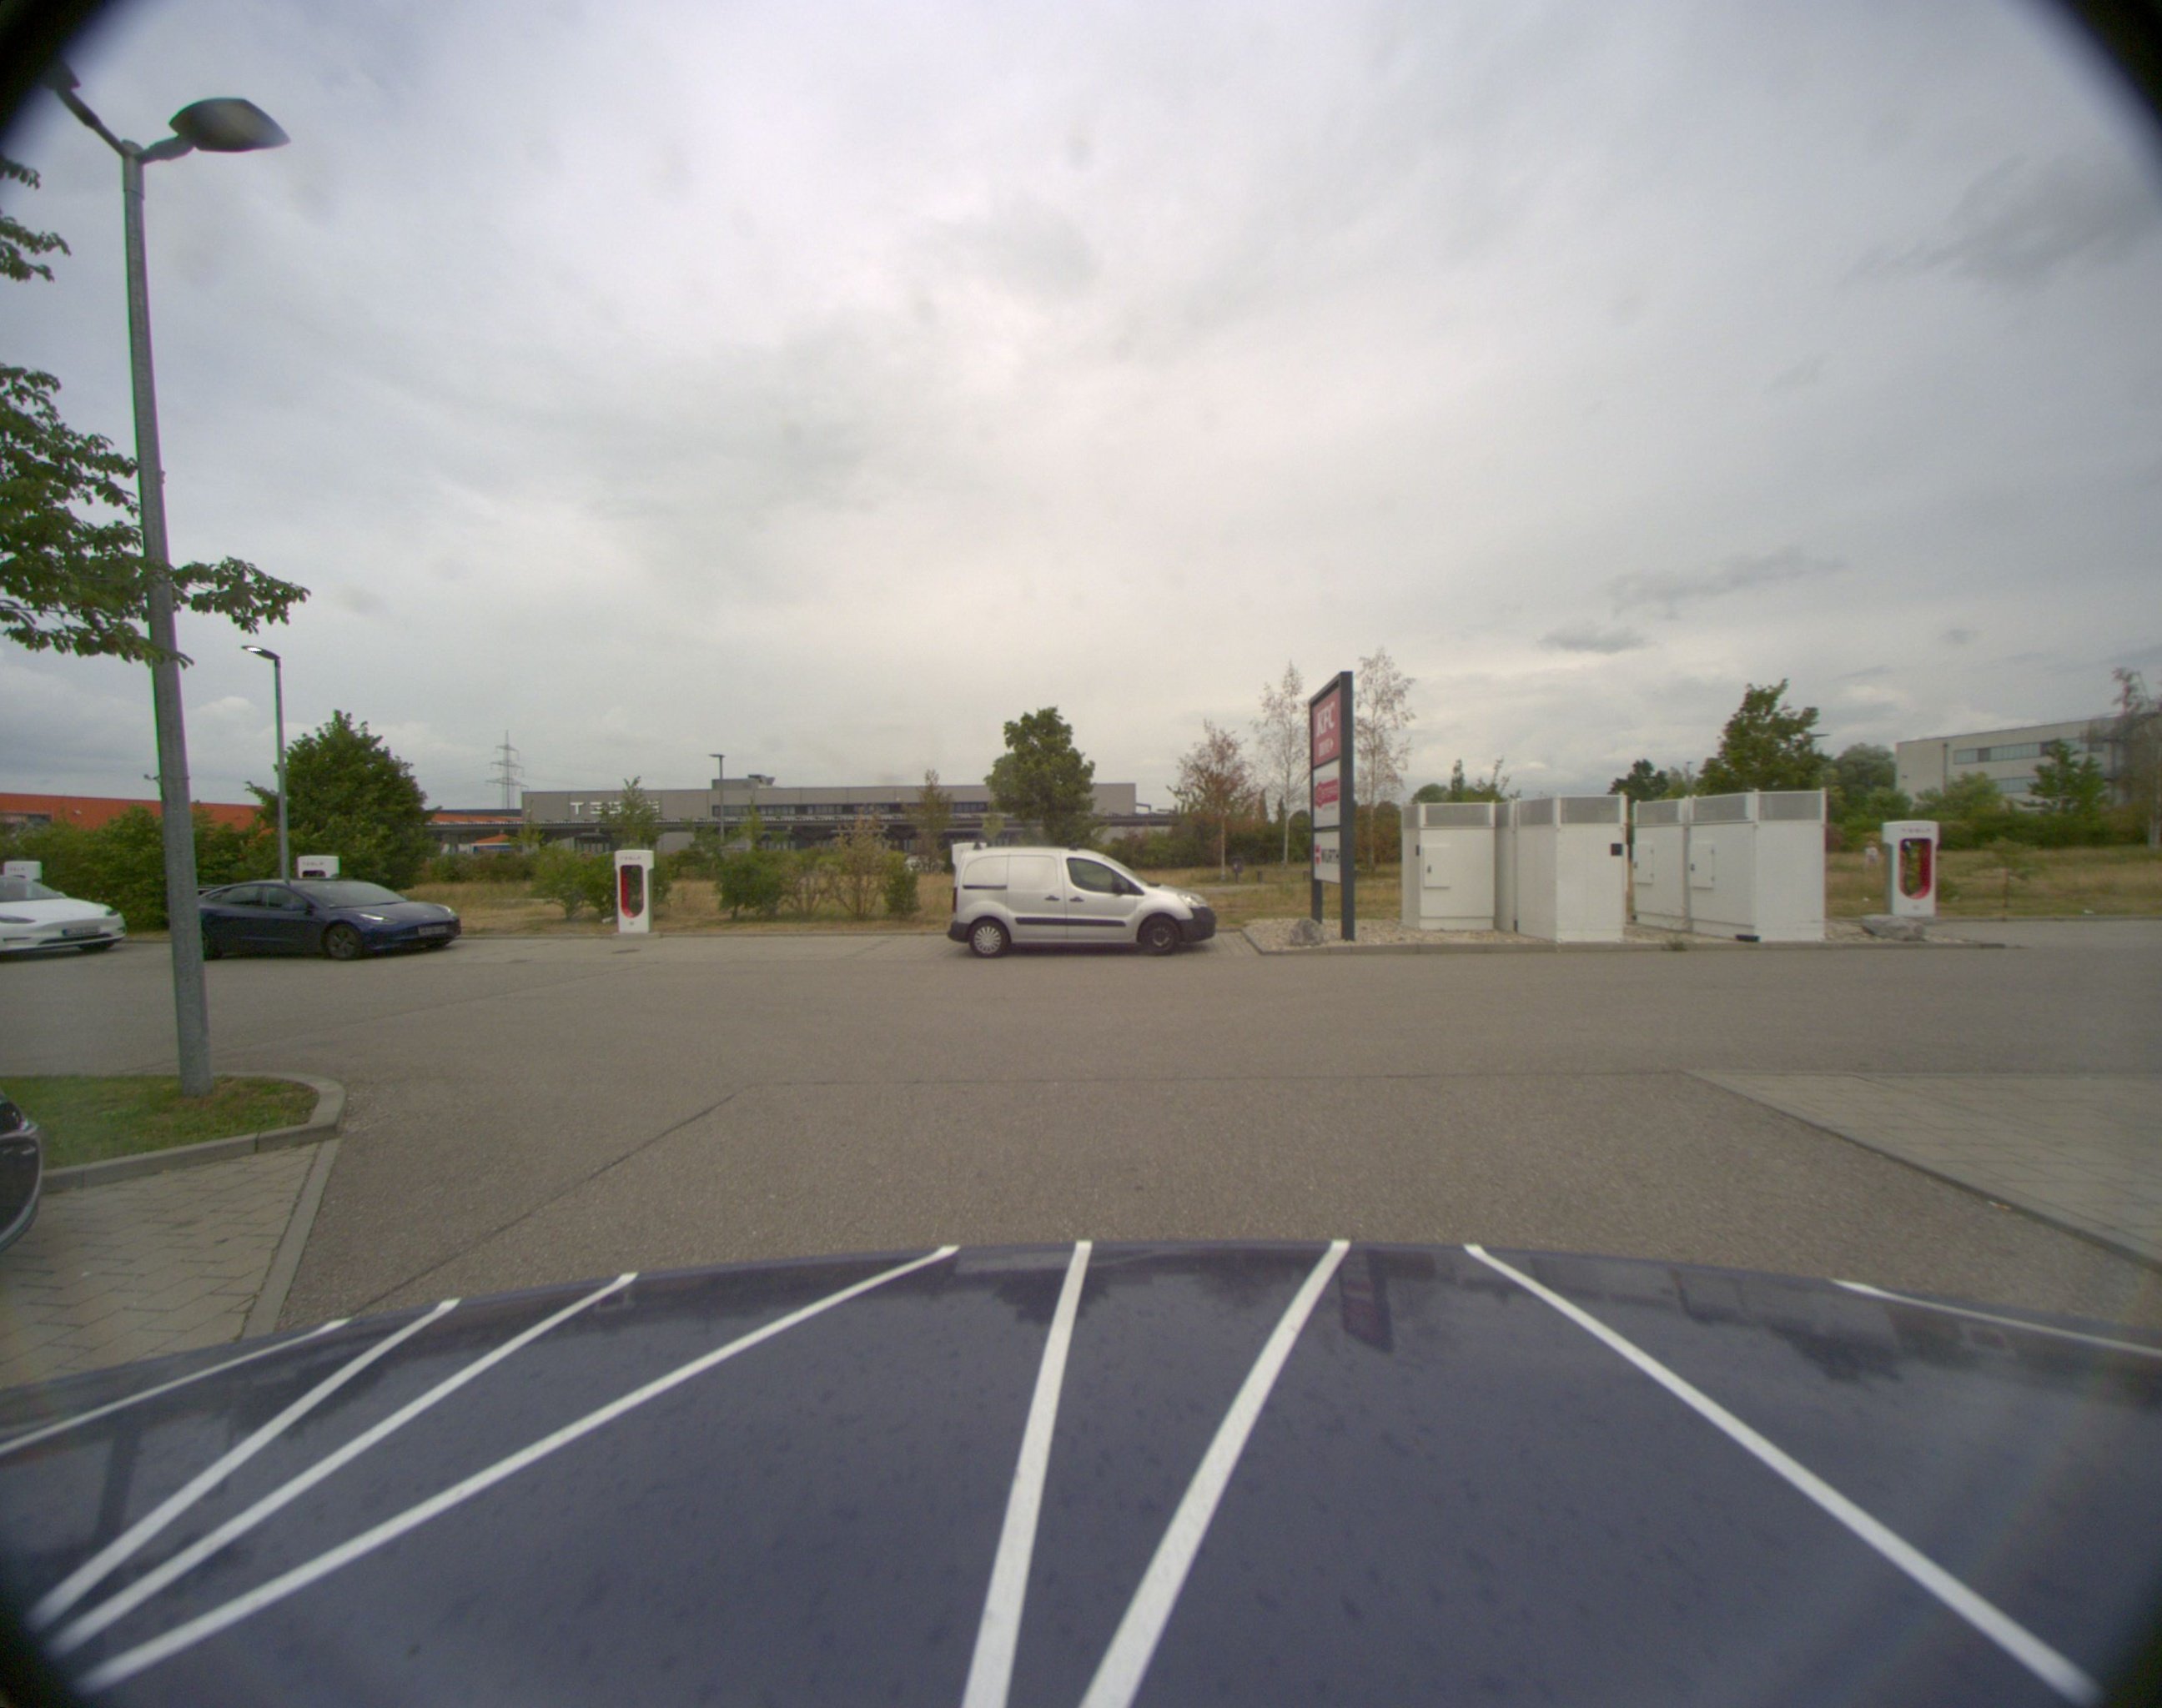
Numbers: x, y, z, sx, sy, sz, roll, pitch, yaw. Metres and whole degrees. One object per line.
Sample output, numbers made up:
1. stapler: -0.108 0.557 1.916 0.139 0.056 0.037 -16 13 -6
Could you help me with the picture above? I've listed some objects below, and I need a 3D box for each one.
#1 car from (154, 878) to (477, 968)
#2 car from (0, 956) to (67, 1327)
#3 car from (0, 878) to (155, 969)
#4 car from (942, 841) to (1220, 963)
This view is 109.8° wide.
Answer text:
1. car: -14.169 1.250 14.216 4.451 1.451 1.834 -1 2 6
2. car: -5.396 1.124 1.630 3.534 1.368 1.605 0 -1 -36
3. car: -21.454 1.322 14.772 4.474 1.544 2.073 -1 1 3
4. car: 0.042 0.765 12.869 4.332 1.877 1.947 -1 0 4
